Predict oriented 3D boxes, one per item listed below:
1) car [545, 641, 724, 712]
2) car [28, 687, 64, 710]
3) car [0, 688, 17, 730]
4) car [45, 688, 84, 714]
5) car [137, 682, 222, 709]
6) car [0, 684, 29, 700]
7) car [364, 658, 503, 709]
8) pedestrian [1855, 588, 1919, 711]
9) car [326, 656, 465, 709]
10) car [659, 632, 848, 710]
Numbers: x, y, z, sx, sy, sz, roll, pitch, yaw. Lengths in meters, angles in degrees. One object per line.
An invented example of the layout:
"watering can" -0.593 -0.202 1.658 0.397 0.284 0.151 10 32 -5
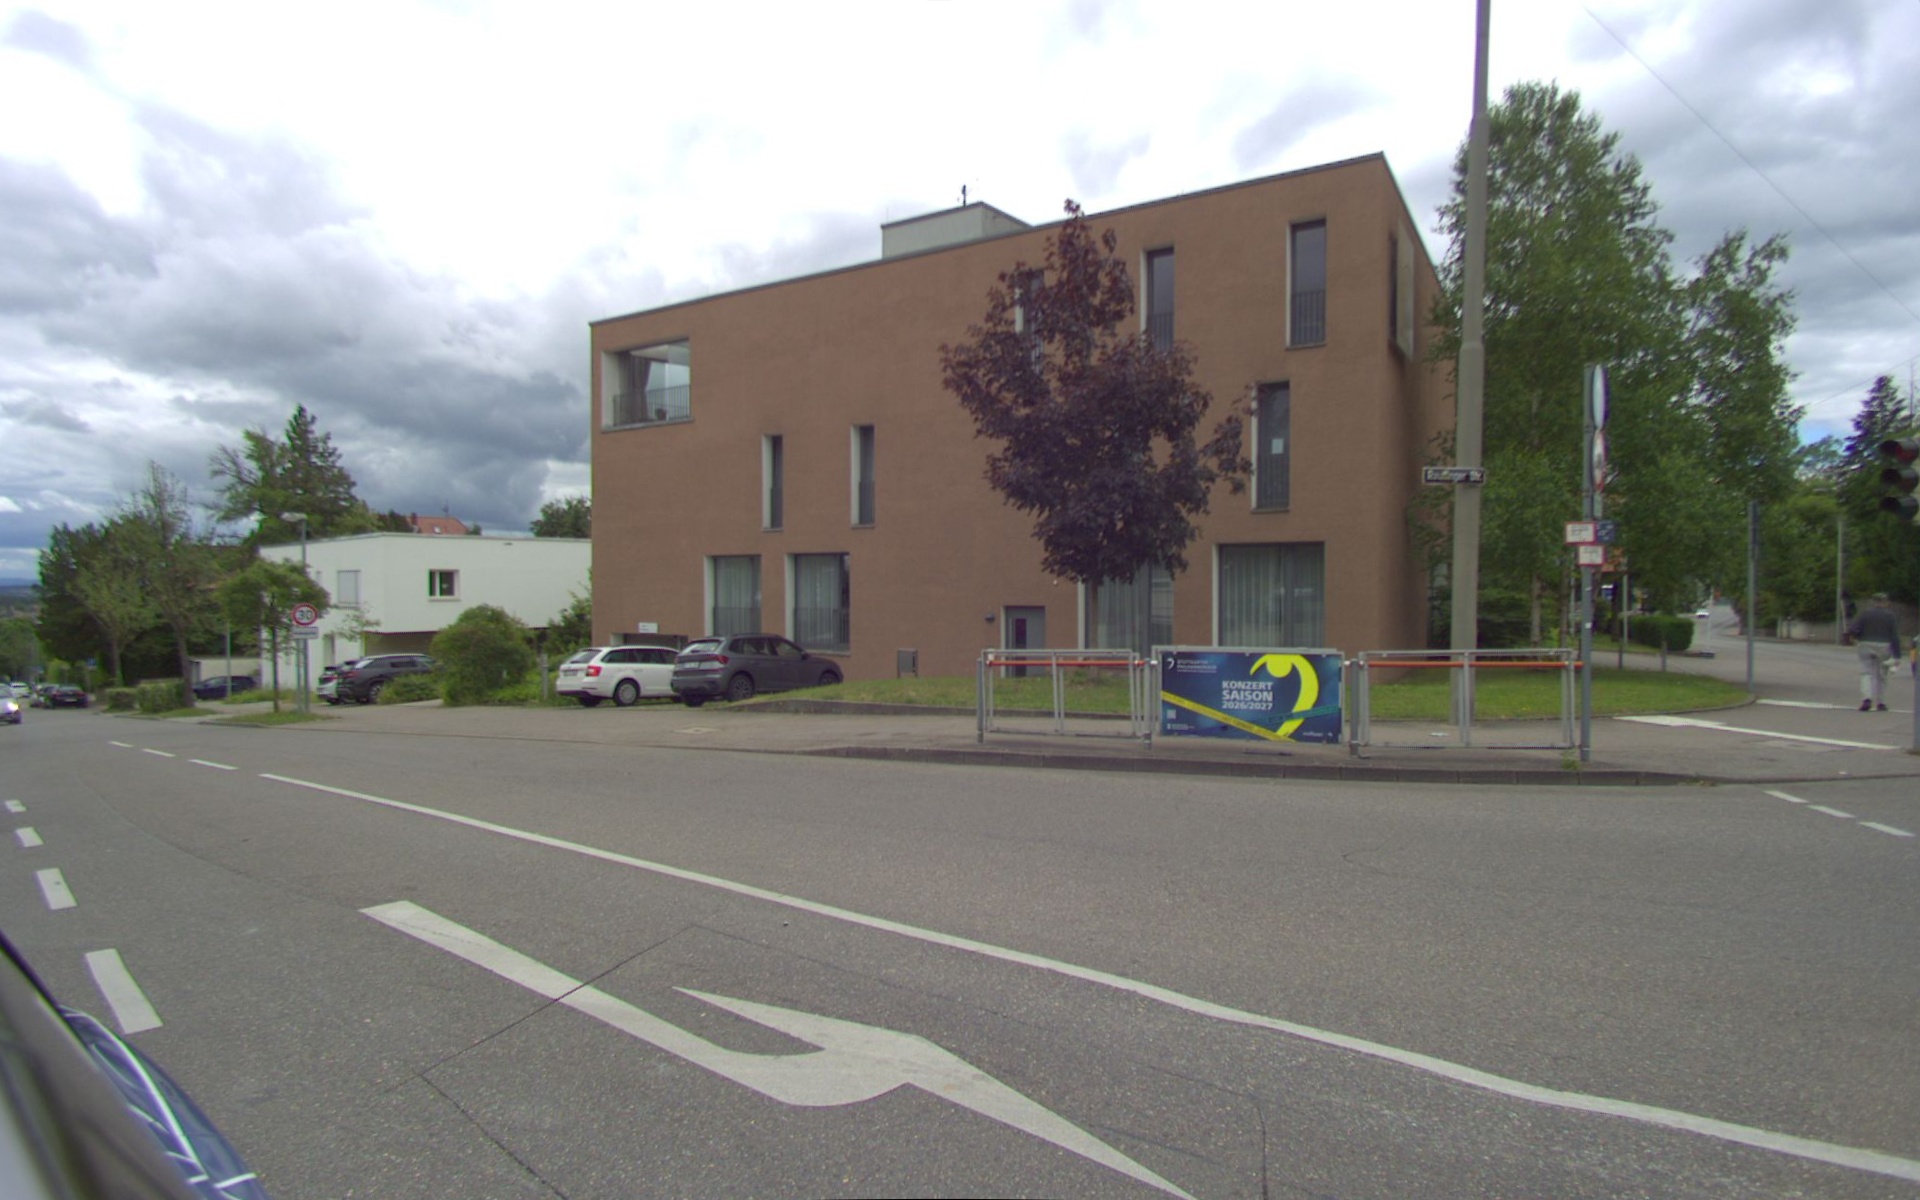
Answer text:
"car" -8.001 1.857 25.128 1.724 1.497 3.950 -5 -4 37
"car" -61.560 6.620 68.156 1.638 1.432 4.371 0 -4 -44
"car" -36.836 4.154 38.238 1.701 1.497 4.003 0 -4 -44
"car" -54.937 6.162 62.077 1.638 1.432 4.003 0 -4 -44
"car" -46.975 5.730 60.942 3.939 1.296 1.665 0 -4 -43
"car" -95.909 9.285 102.363 4.362 1.432 1.861 -3 -3 38
"car" -18.235 2.874 35.156 1.727 1.497 3.943 -6 -4 43
"pedestrian" 12.868 0.677 13.943 0.682 1.646 0.731 -3 -3 37
"car" -19.978 2.895 35.941 1.793 1.608 3.943 -6 -4 43
"car" -4.500 1.546 22.525 1.724 1.497 3.950 -5 -4 37
